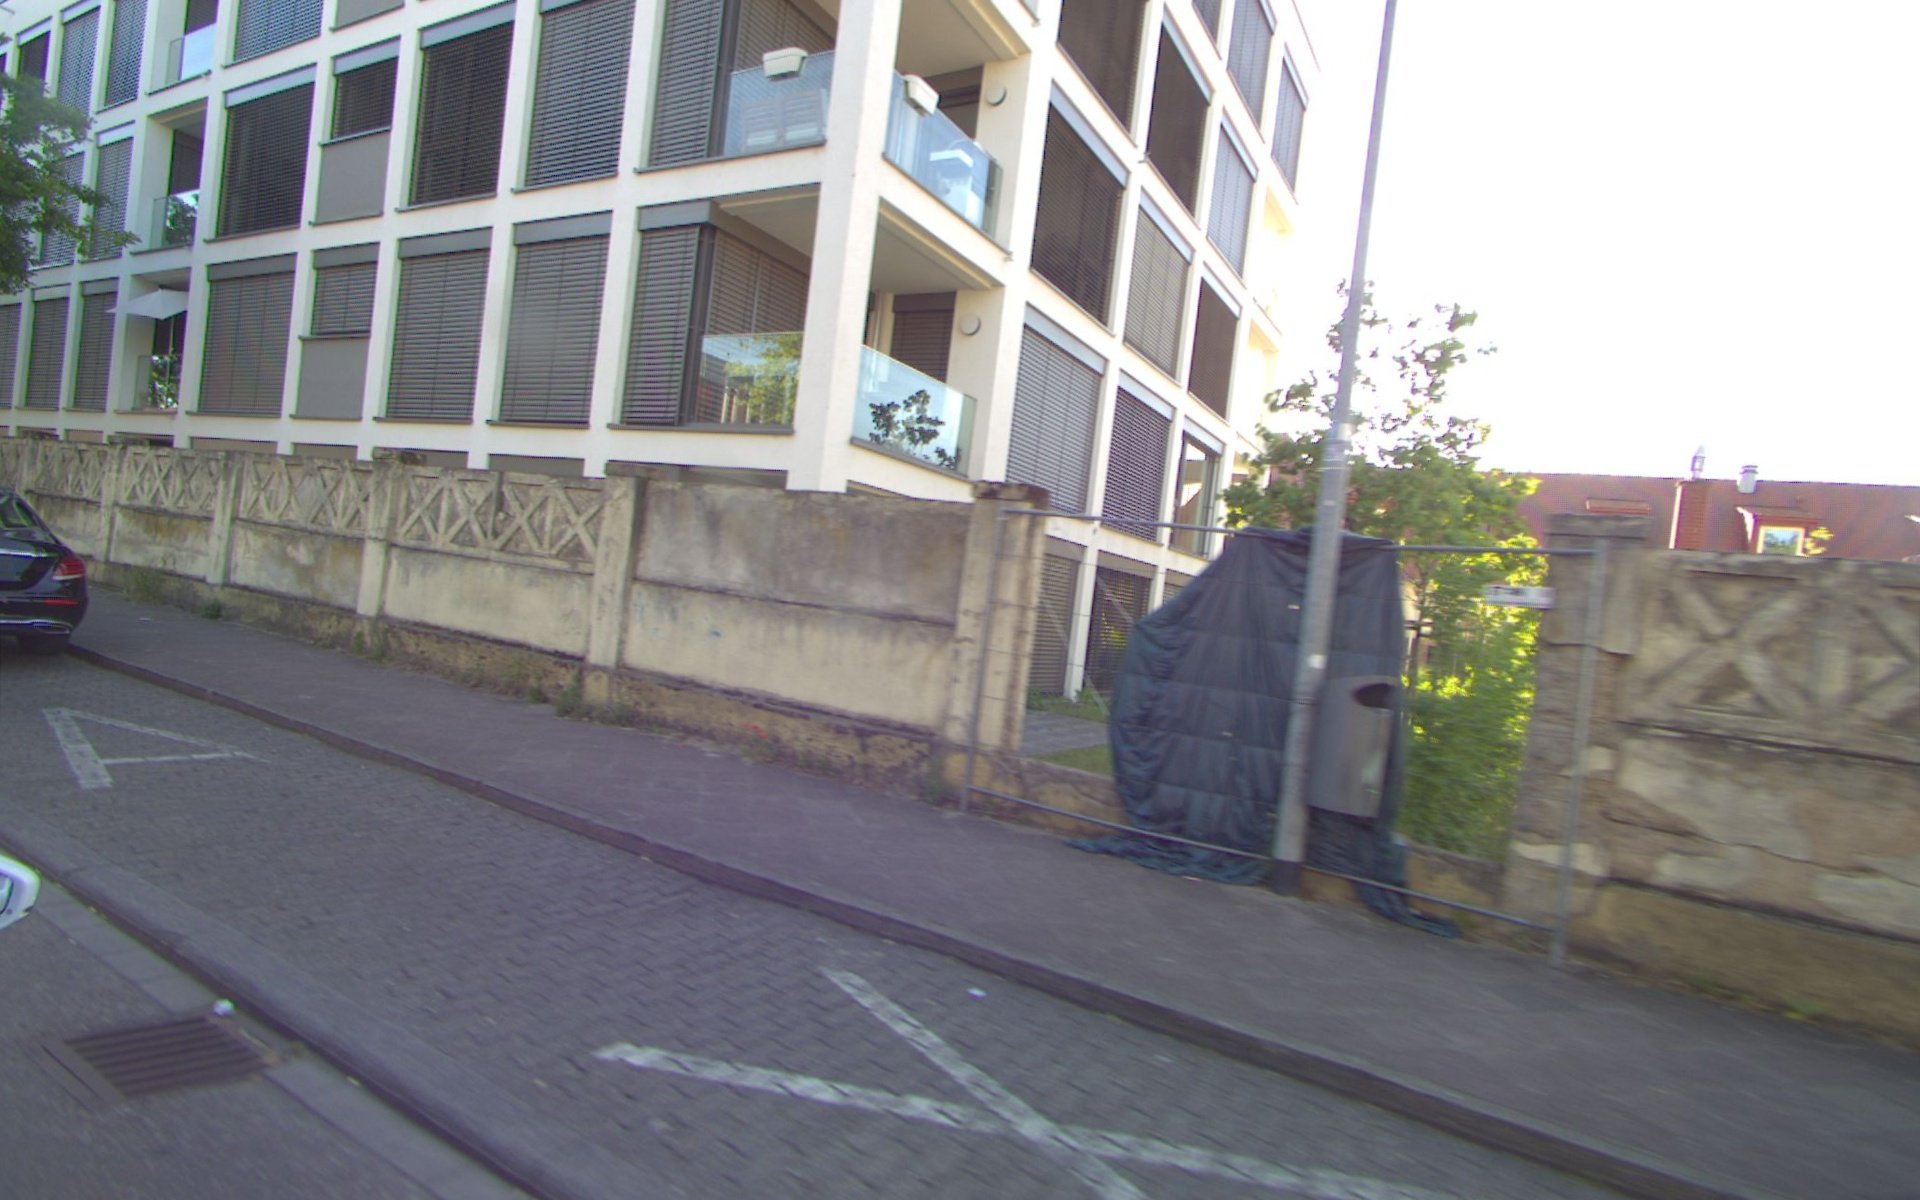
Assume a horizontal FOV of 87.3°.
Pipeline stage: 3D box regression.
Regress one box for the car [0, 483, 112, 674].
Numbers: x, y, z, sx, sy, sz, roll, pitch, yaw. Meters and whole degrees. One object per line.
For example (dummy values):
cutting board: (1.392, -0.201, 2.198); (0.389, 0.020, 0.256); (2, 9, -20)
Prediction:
car: (-9.196, -0.384, 8.522); (3.932, 1.458, 1.769); (7, 1, 30)
